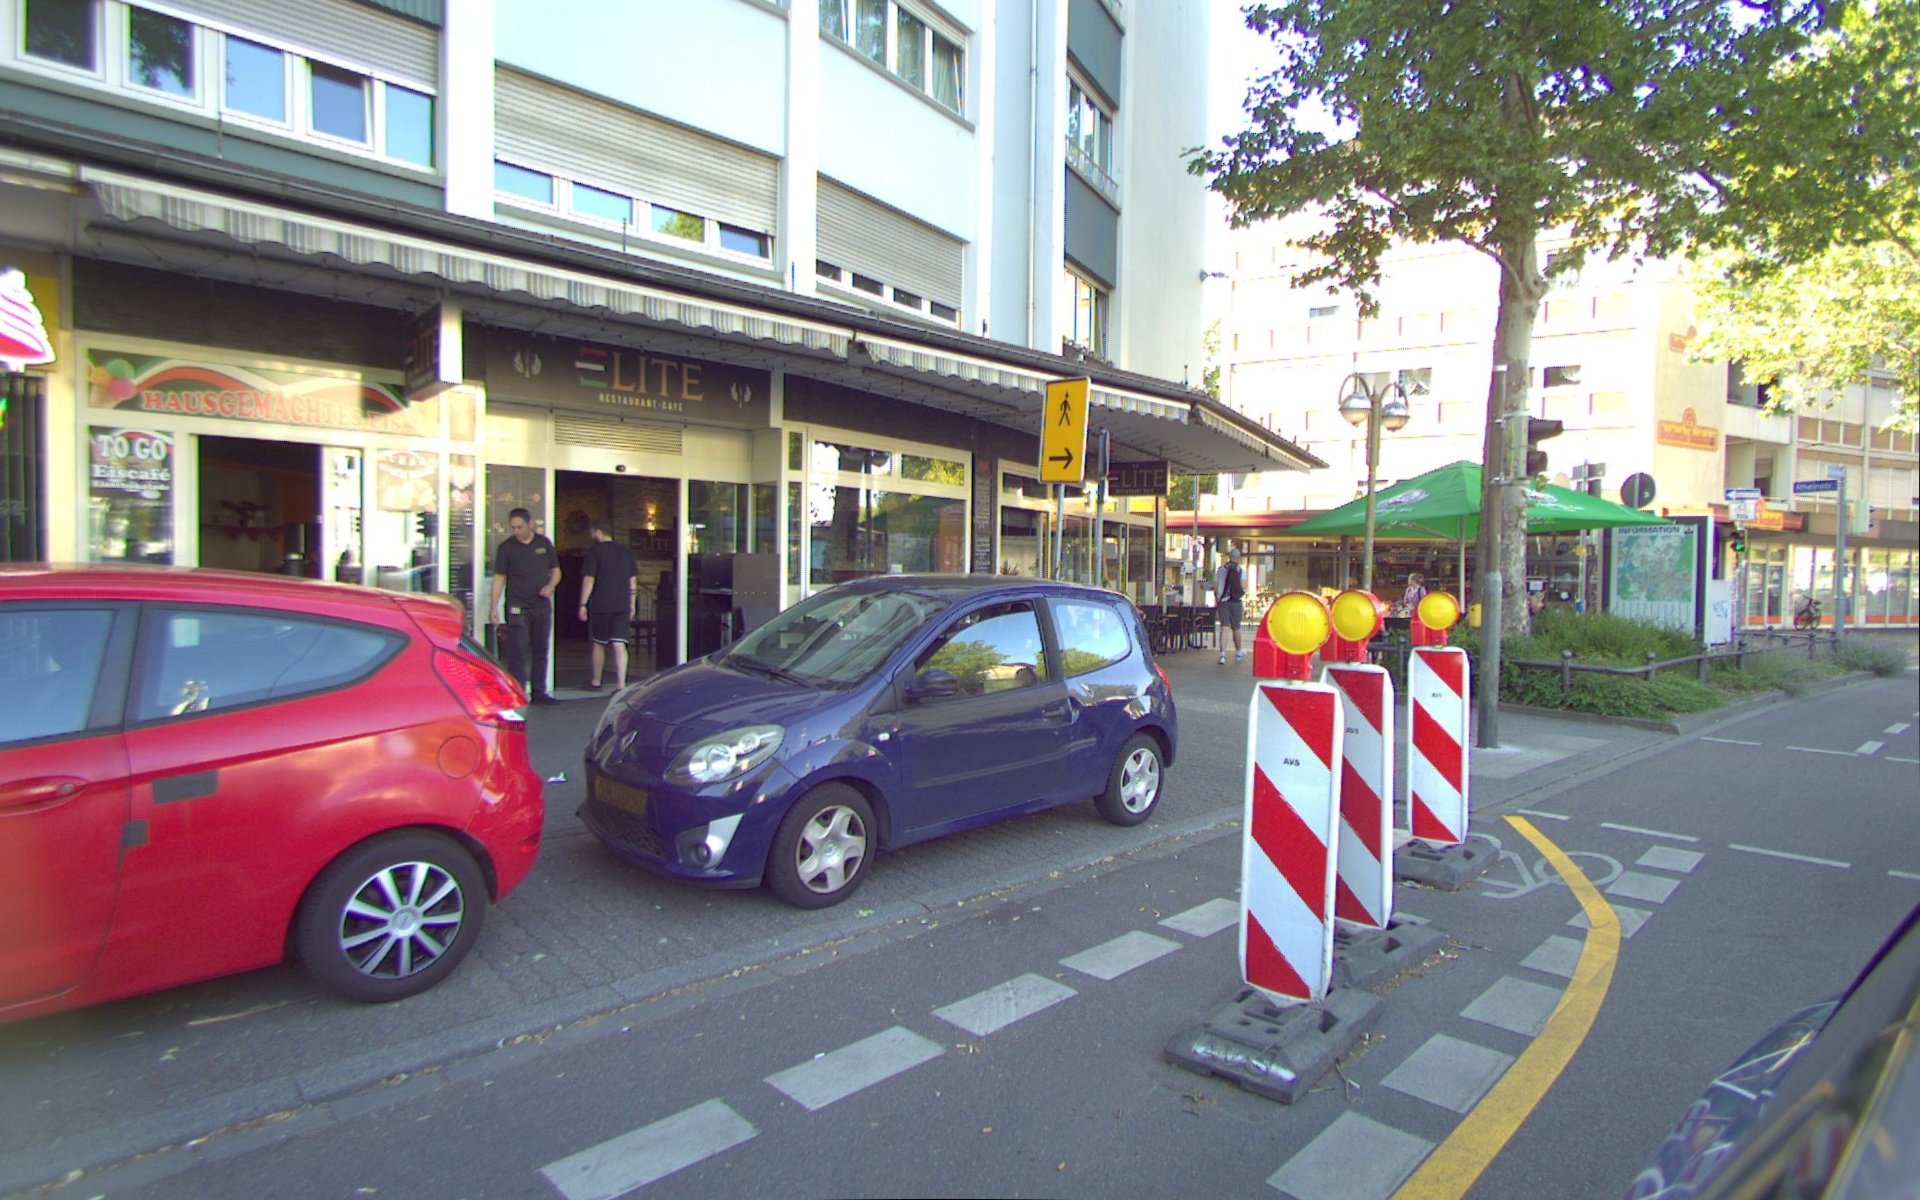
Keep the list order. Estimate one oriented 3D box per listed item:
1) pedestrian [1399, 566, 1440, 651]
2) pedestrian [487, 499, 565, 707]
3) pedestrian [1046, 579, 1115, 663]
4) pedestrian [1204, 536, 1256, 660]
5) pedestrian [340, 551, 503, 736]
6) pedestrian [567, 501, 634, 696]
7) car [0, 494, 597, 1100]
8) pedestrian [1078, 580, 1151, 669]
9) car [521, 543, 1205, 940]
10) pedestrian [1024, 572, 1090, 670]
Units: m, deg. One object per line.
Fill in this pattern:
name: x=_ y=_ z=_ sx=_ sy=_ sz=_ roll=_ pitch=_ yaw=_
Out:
pedestrian: x=9.168 y=0.152 z=20.191 sx=0.624 sy=1.657 sz=0.525 roll=2 pitch=1 yaw=34
pedestrian: x=-3.880 y=0.012 z=9.051 sx=0.547 sy=1.800 sz=0.395 roll=-1 pitch=4 yaw=-43
pedestrian: x=1.808 y=0.297 z=15.174 sx=0.776 sy=1.207 sz=0.648 roll=0 pitch=1 yaw=-34
pedestrian: x=4.471 y=-0.051 z=16.725 sx=0.642 sy=1.983 sz=0.882 roll=1 pitch=1 yaw=25
pedestrian: x=-4.330 y=0.299 z=8.125 sx=0.937 sy=1.352 sz=1.069 roll=0 pitch=2 yaw=-42
pedestrian: x=-3.407 y=-0.022 z=9.607 sx=0.545 sy=1.803 sz=0.397 roll=1 pitch=3 yaw=-11
car: x=-3.345 y=0.470 z=3.140 sx=3.761 sy=1.614 sz=1.784 roll=-1 pitch=5 yaw=-45
pedestrian: x=2.189 y=0.333 z=14.384 sx=0.685 sy=1.207 sz=0.881 roll=0 pitch=1 yaw=-18
car: x=-0.373 y=0.507 z=5.820 sx=3.551 sy=1.485 sz=1.769 roll=-1 pitch=5 yaw=-44
pedestrian: x=1.346 y=0.277 z=14.128 sx=0.685 sy=1.323 sz=0.793 roll=1 pitch=1 yaw=-13
